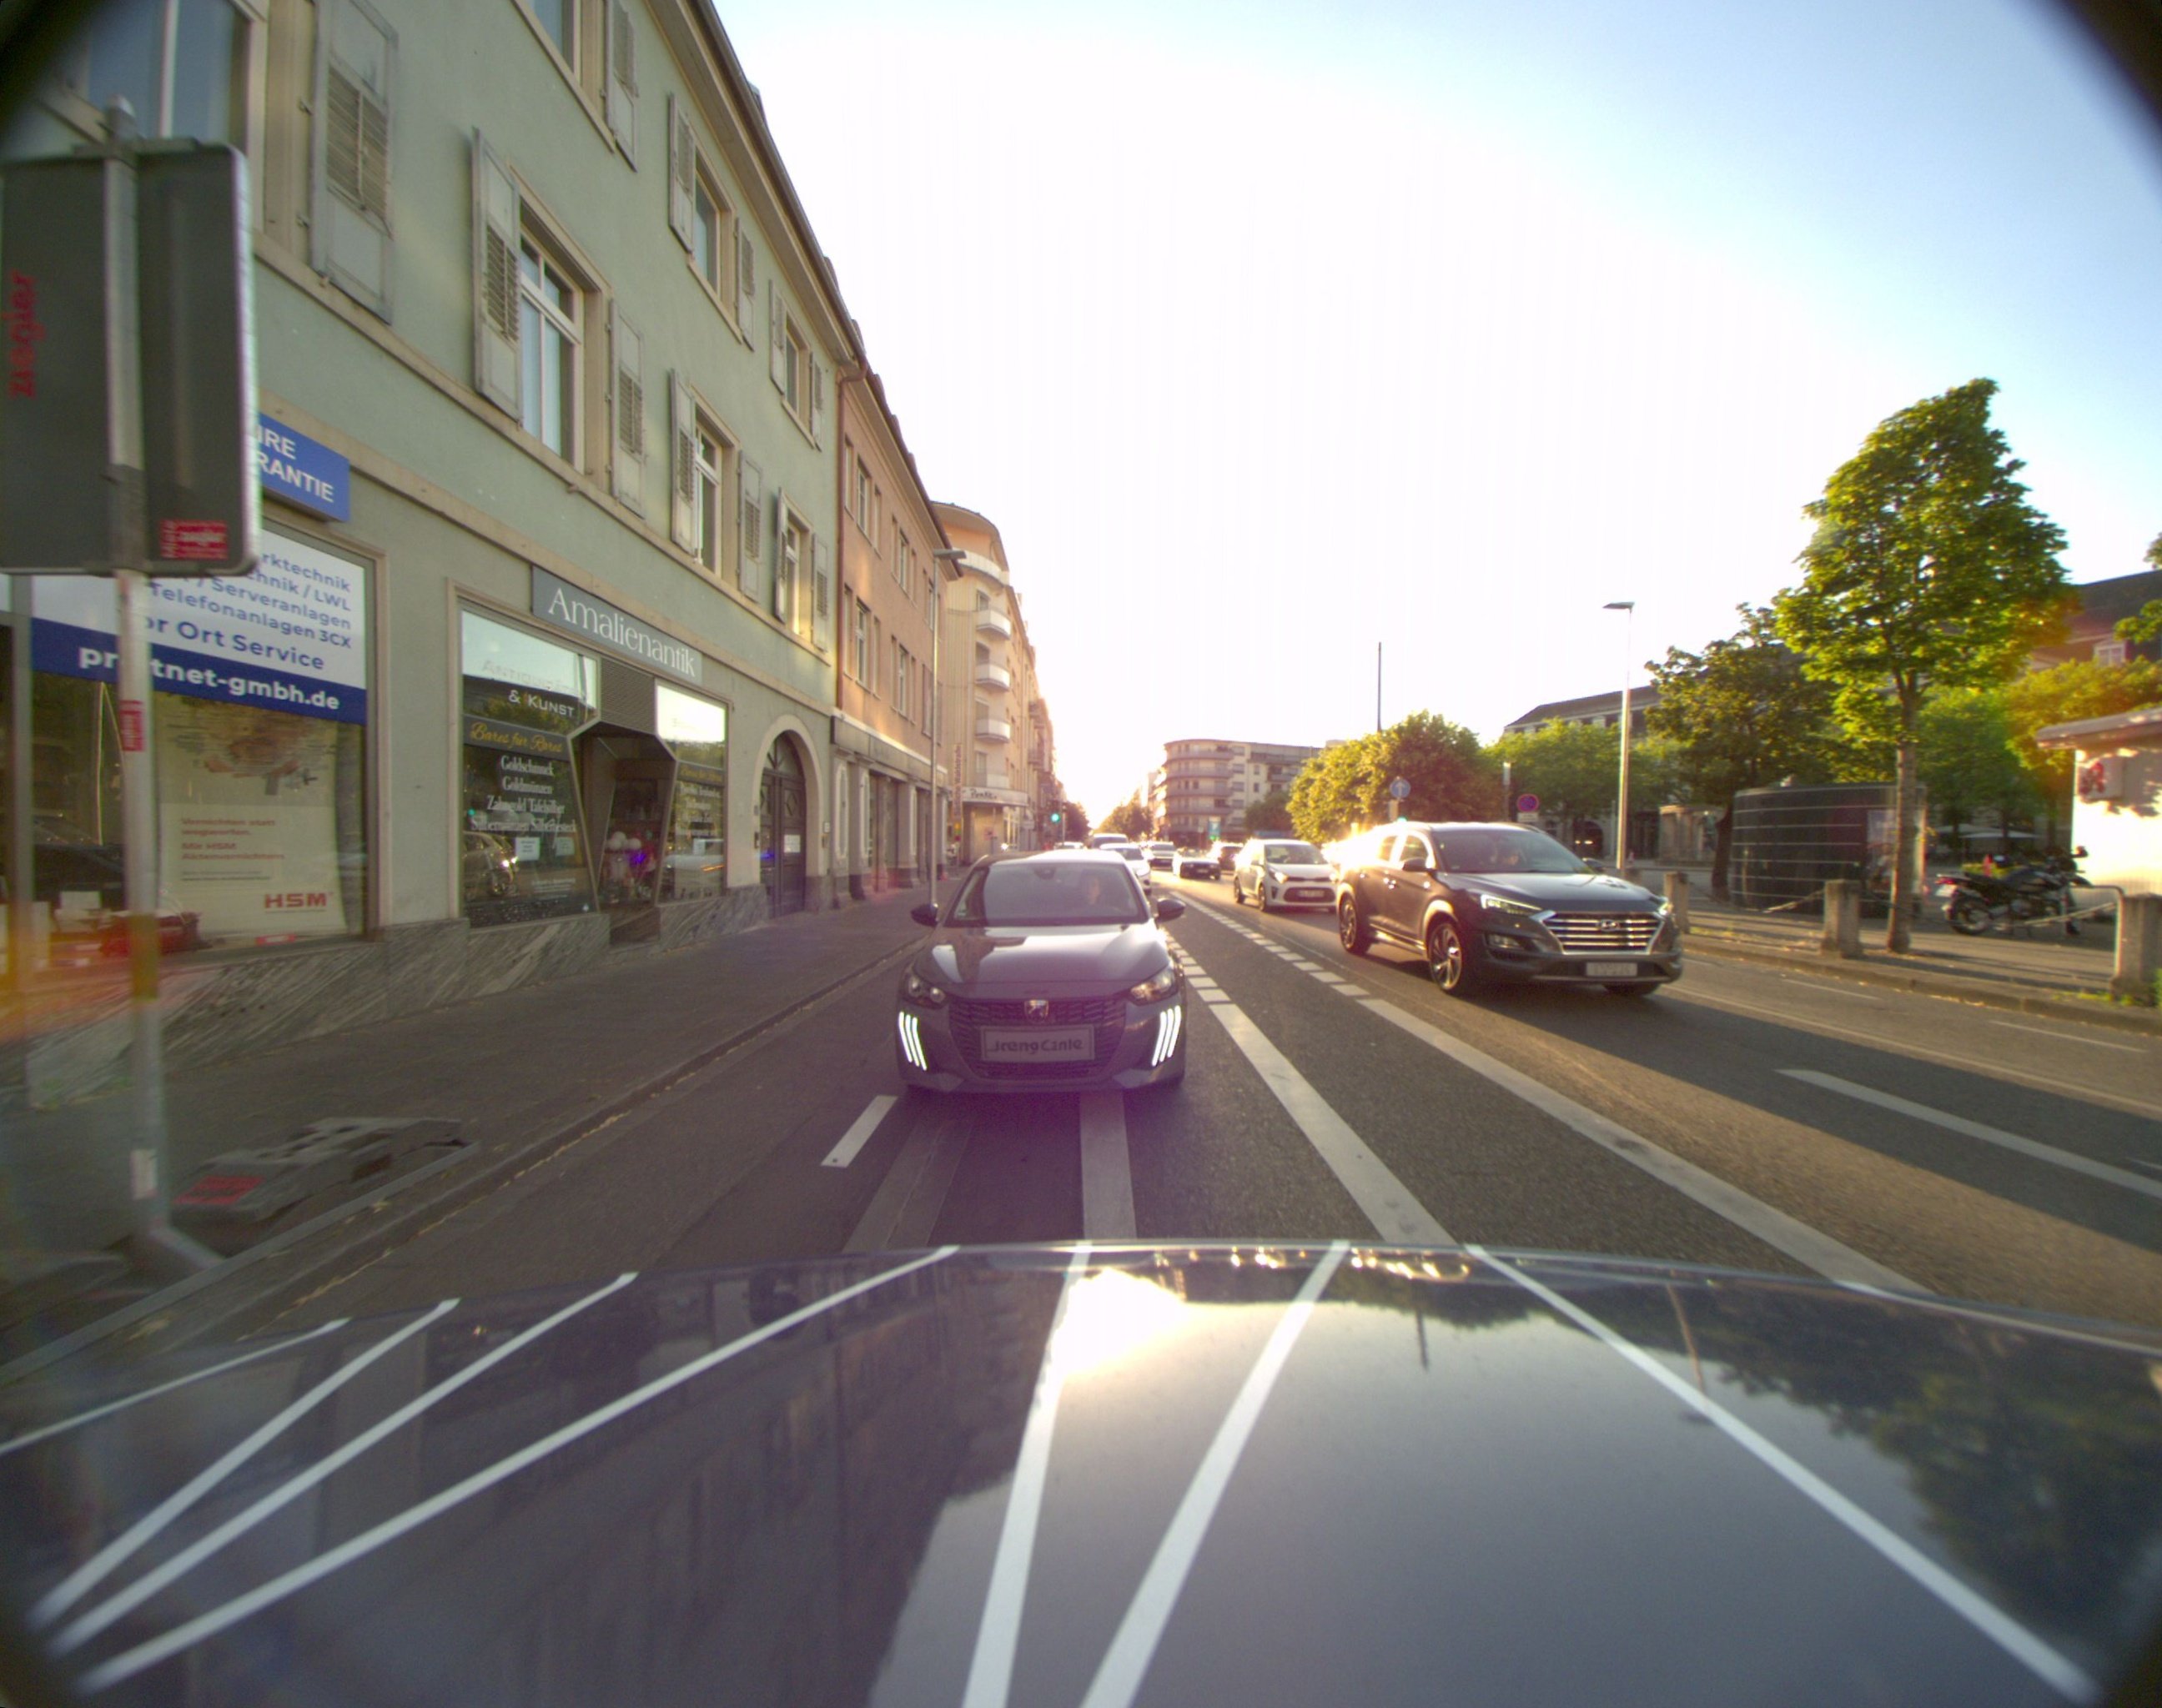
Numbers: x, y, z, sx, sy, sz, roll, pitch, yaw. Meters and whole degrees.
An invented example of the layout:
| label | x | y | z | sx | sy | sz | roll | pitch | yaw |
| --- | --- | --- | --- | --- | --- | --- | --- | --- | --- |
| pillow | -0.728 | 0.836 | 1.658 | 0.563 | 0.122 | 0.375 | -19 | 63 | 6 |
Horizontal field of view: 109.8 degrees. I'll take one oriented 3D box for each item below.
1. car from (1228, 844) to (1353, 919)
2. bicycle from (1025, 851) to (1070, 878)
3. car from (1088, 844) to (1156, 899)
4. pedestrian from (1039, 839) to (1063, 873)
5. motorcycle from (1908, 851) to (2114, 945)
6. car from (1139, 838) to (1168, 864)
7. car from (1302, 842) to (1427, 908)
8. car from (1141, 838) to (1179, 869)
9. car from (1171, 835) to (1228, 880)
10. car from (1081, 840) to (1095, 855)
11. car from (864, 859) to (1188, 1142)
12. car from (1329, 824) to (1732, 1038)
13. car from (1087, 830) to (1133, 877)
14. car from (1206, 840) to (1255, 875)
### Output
| label | x | y | z | sx | sy | sz | roll | pitch | yaw |
| --- | --- | --- | --- | --- | --- | --- | --- | --- | --- |
| car | 4.442 | 0.504 | 16.718 | 1.718 | 1.463 | 3.984 | 0 | 1 | 1 |
| bicycle | -1.339 | 0.396 | 30.582 | 1.702 | 1.051 | 0.563 | 1 | 1 | 11 |
| car | 1.197 | 0.460 | 22.662 | 1.827 | 1.463 | 3.985 | -1 | 1 | 2 |
| pedestrian | -1.206 | 0.084 | 30.546 | 0.858 | 1.343 | 0.563 | 1 | 1 | 11 |
| motorcycle | 14.815 | 0.690 | 12.140 | 2.399 | 1.438 | 0.700 | 0 | 1 | 0 |
| car | 5.217 | -0.246 | 55.243 | 1.880 | 1.762 | 4.000 | 0 | 1 | 2 |
| car | 7.546 | 0.489 | 20.661 | 1.880 | 1.594 | 3.999 | 0 | 1 | 0 |
| car | 4.667 | -0.053 | 45.350 | 1.827 | 1.731 | 3.984 | 2 | 1 | 1 |
| car | 4.988 | 0.114 | 32.566 | 1.827 | 1.731 | 3.984 | 2 | 1 | 1 |
| car | 0.988 | -0.957 | 110.650 | 1.998 | 2.002 | 3.999 | 0 | 1 | 1 |
| car | -0.185 | 0.801 | 6.050 | 1.750 | 1.434 | 3.906 | 0 | 1 | 3 |
| car | 4.255 | 0.581 | 8.163 | 1.827 | 1.688 | 4.259 | 1 | 1 | 1 |
| car | 1.251 | -0.054 | 33.828 | 1.827 | 1.918 | 3.984 | 2 | 1 | 1 |
| car | 8.026 | 0.153 | 41.114 | 1.827 | 1.688 | 3.984 | 3 | 1 | 1 |
